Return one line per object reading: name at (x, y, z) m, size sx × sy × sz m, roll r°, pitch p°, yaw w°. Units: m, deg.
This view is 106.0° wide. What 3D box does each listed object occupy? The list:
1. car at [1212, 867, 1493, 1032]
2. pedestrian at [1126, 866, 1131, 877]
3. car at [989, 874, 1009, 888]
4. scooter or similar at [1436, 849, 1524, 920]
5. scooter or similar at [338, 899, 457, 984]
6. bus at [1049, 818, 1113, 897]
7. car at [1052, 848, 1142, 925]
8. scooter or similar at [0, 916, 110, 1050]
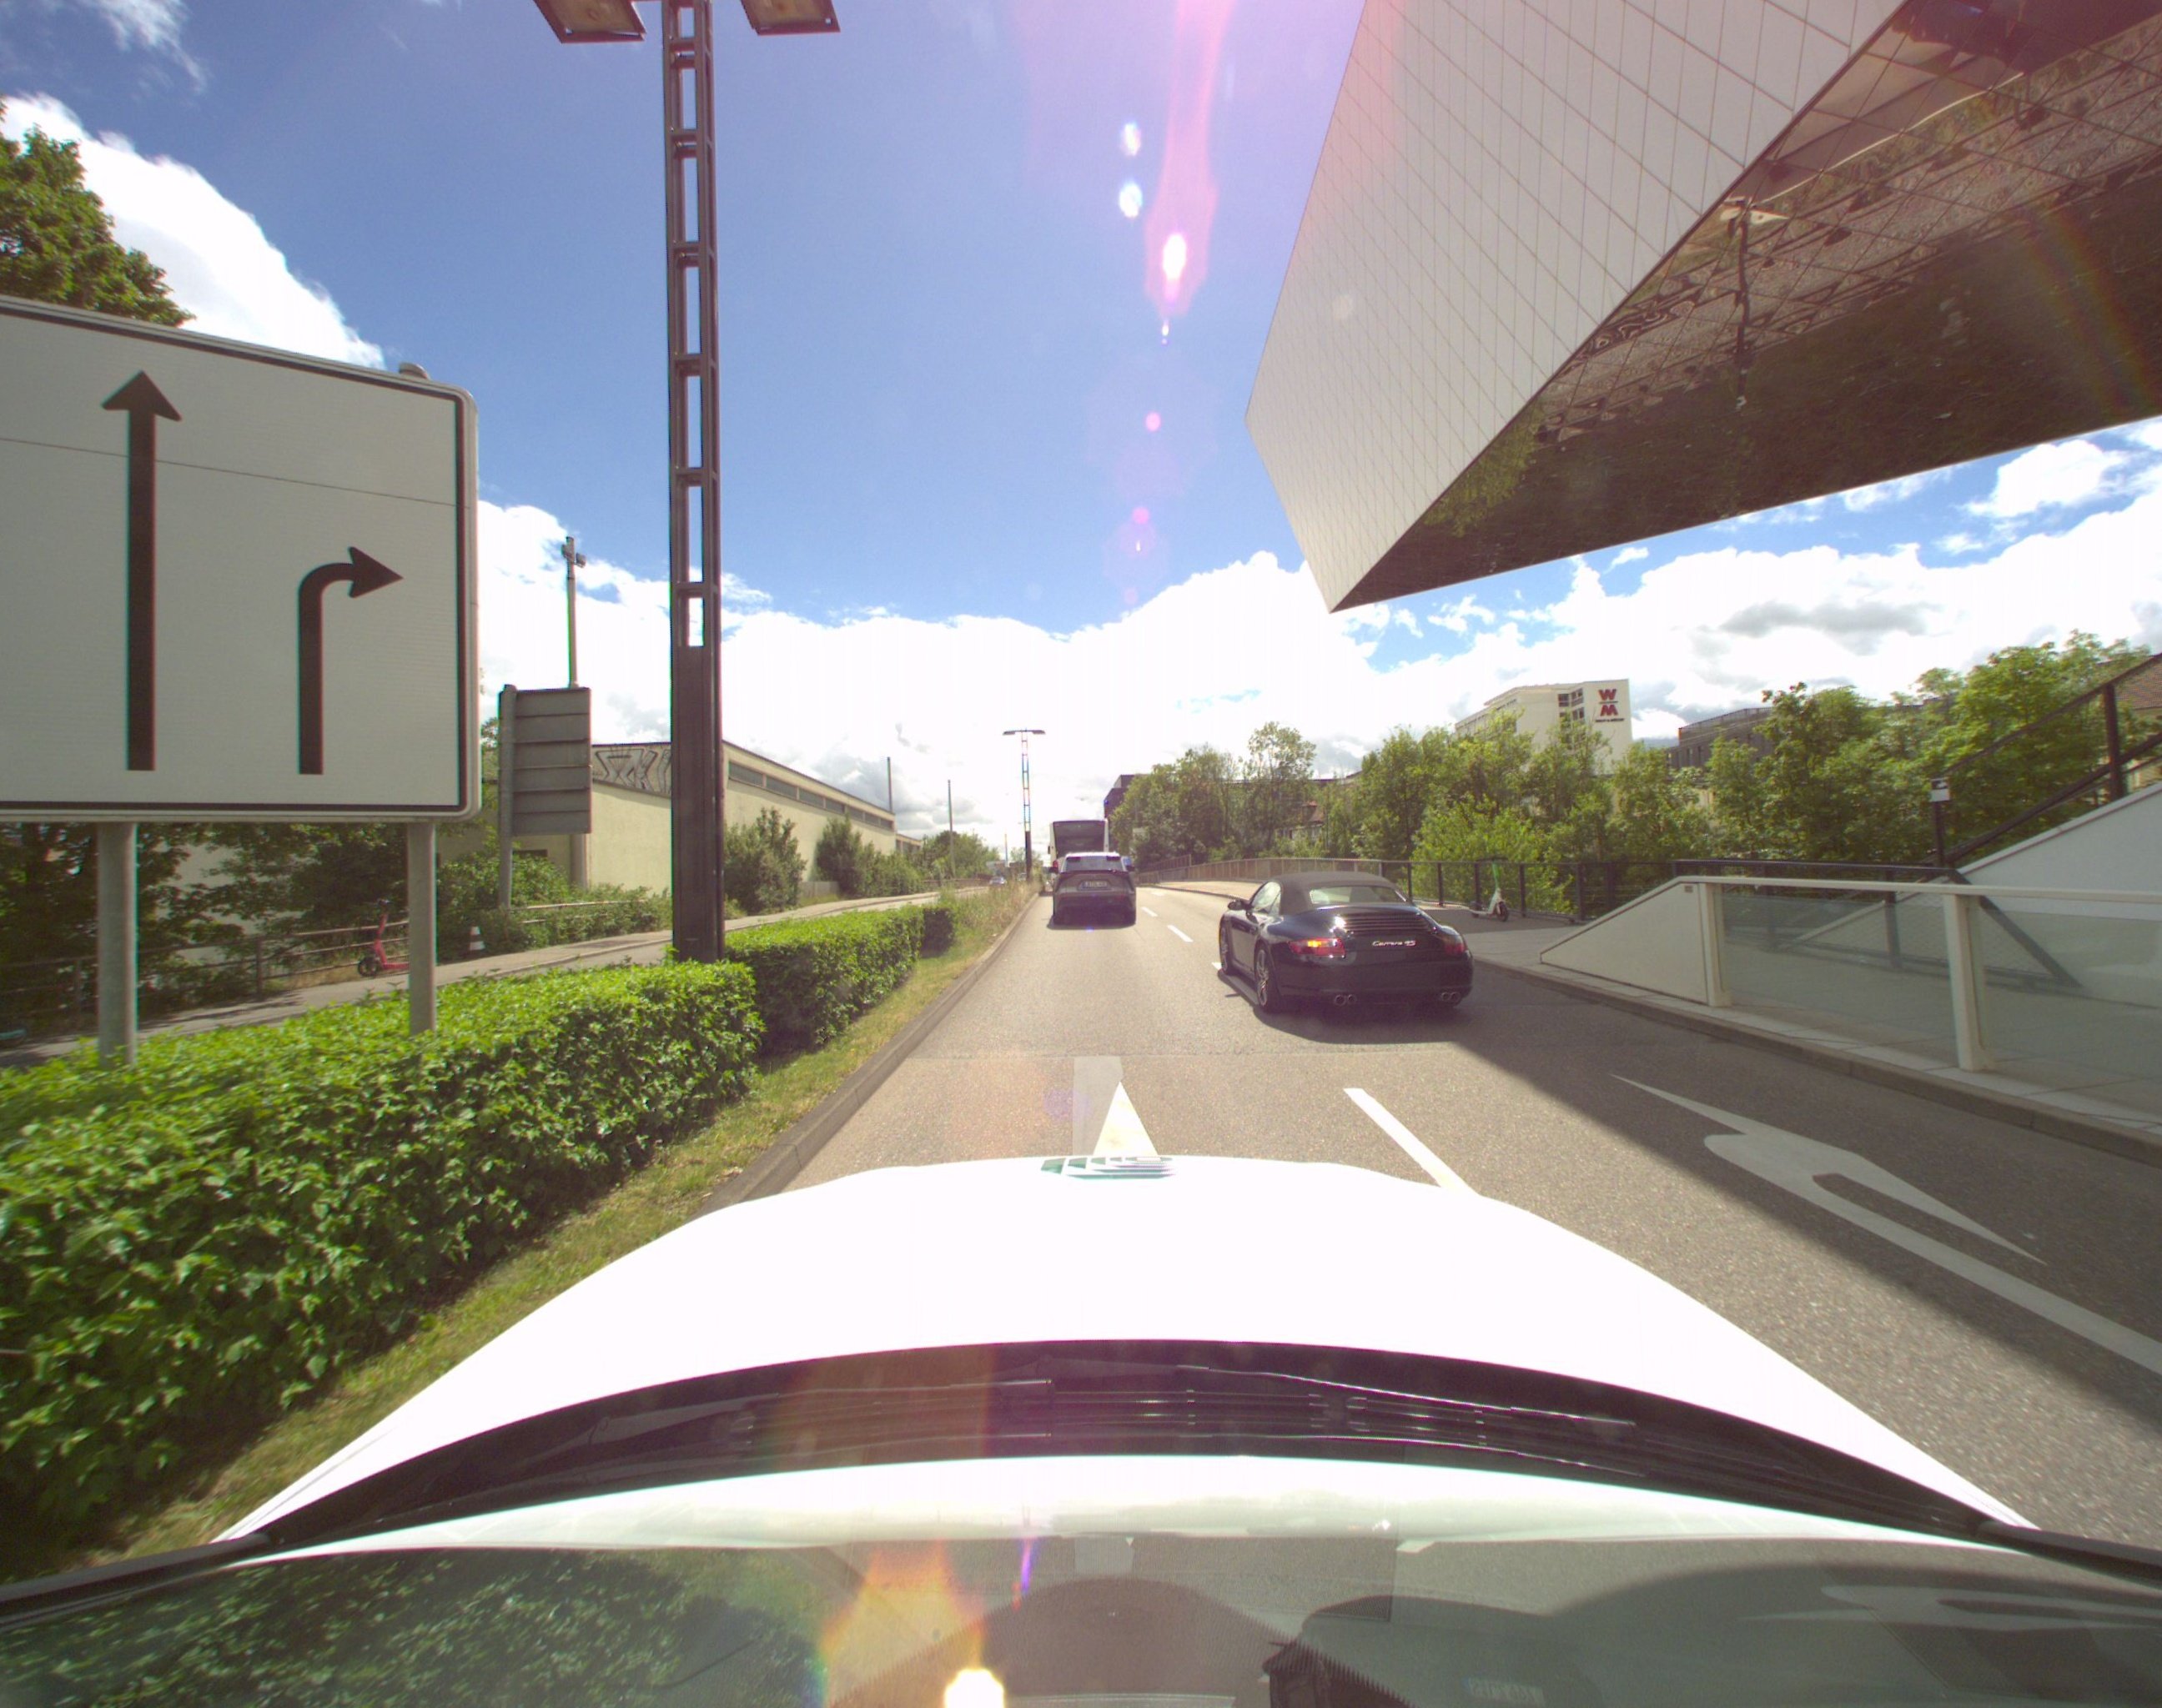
car at (2.561, 0.817, 8.750) m, size 1.714 × 1.275 × 4.088 m, roll -1°, pitch 0°, yaw 1°
pedestrian at (7.677, 2.870, 131.191) m, size 0.674 × 1.696 × 0.601 m, roll -3°, pitch -3°, yaw 24°
car at (-8.604, 2.835, 85.661) m, size 1.749 × 1.276 × 3.997 m, roll -5°, pitch -2°, yaw -1°
scooter or similar at (7.437, 0.545, 15.293) m, size 0.651 × 1.214 × 1.856 m, roll -3°, pitch -1°, yaw -1°
scooter or similar at (-11.471, 1.435, 13.745) m, size 0.489 × 1.216 × 1.645 m, roll -3°, pitch 0°, yaw 4°
bus at (0.029, 0.065, 40.309) m, size 2.680 × 3.255 × 12.057 m, roll -1°, pitch 1°, yaw 0°
car at (0.351, 0.704, 19.317) m, size 1.873 × 1.594 × 4.229 m, roll -1°, pitch 0°, yaw 0°
scooter or similar at (-11.297, 1.359, 8.408) m, size 0.489 × 1.304 × 1.645 m, roll -1°, pitch 0°, yaw 4°
